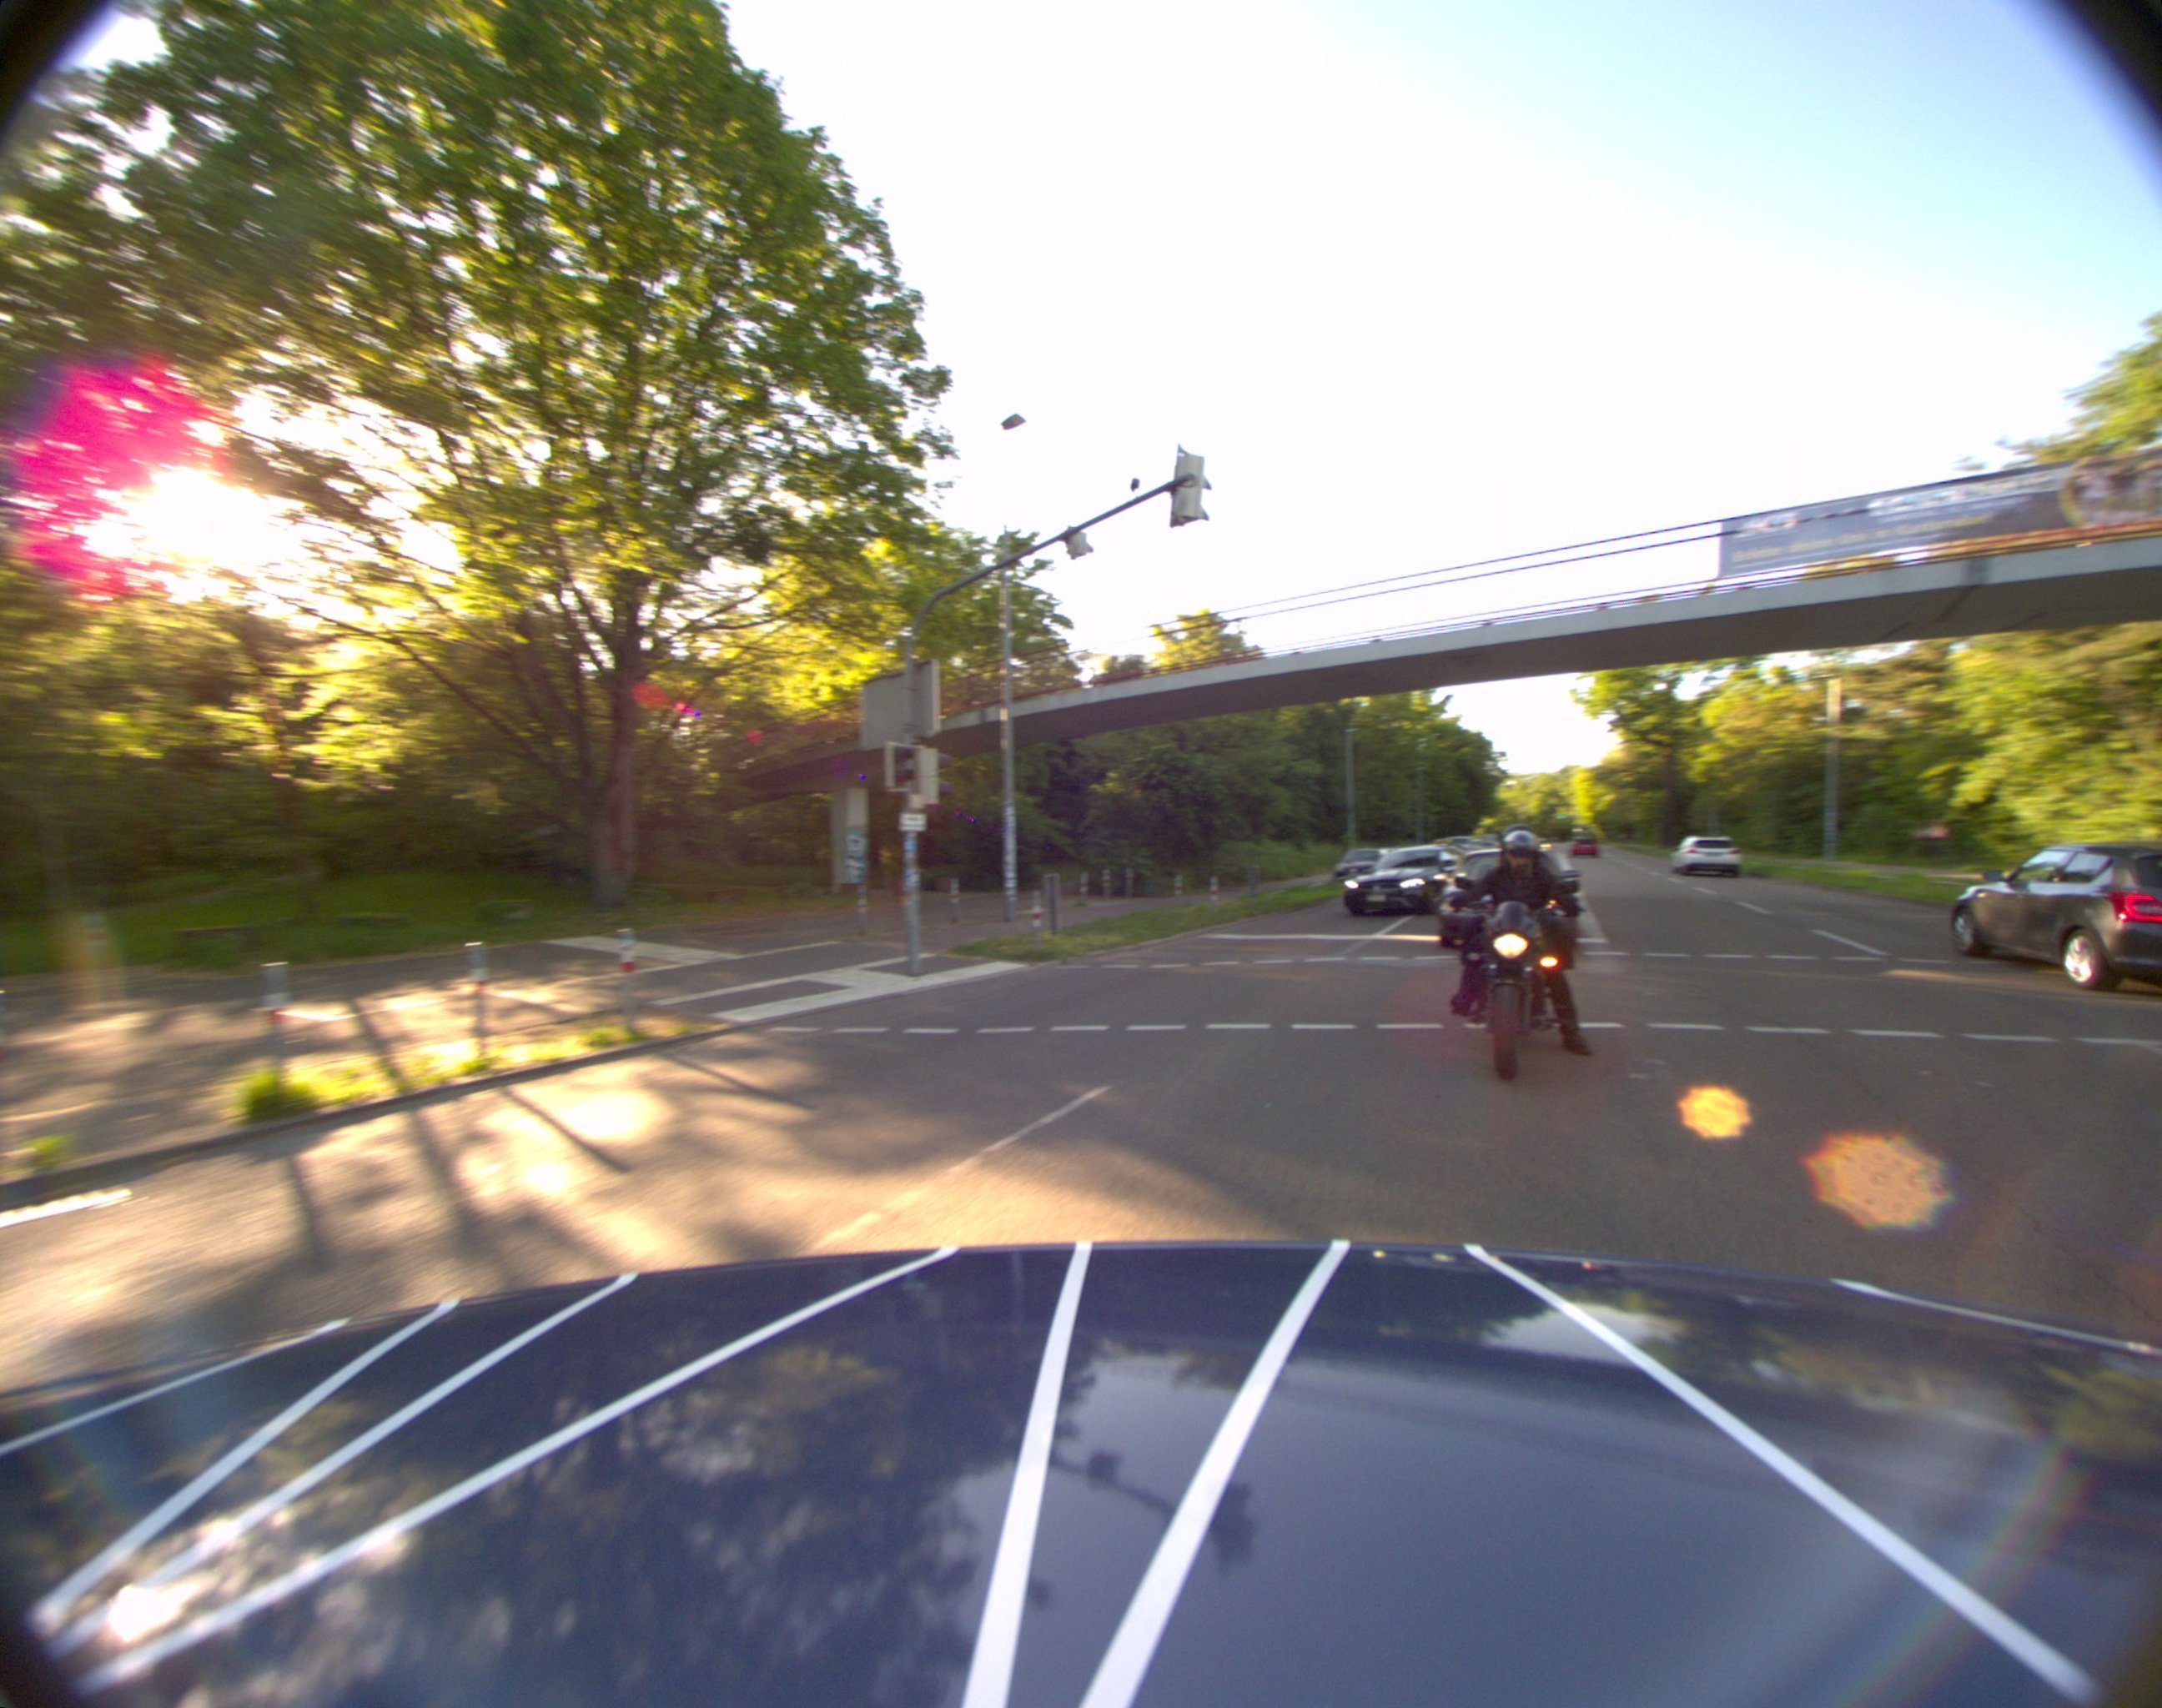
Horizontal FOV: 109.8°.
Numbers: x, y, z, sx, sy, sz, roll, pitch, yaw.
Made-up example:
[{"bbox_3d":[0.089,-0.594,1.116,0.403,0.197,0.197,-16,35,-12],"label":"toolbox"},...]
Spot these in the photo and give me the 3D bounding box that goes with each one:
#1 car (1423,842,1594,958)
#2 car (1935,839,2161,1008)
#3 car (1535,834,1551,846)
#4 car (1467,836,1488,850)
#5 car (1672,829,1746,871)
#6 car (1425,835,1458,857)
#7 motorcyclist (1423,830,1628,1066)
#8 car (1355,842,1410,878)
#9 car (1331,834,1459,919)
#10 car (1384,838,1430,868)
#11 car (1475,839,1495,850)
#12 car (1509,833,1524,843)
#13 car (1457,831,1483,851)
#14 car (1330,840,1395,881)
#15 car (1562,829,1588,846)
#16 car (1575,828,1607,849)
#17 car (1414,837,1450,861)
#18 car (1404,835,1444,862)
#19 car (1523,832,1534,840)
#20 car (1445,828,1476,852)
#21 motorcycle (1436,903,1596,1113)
[{"bbox_3d":[6.525,0.584,11.549,1.864,1.381,4.007,-3,0,31],"label":"car"},{"bbox_3d":[10.918,0.596,7.876,1.708,1.445,3.646,2,3,31],"label":"car"},{"bbox_3d":[50.053,-1.520,82.283,1.462,1.237,4.007,-1,1,31],"label":"car"},{"bbox_3d":[44.608,-1.236,85.437,1.890,1.538,4.403,0,1,31],"label":"car"},{"bbox_3d":[24.672,-0.206,29.968,1.678,1.515,3.908,1,2,31],"label":"car"},{"bbox_3d":[26.087,-0.600,54.932,1.733,1.499,4.403,0,1,31],"label":"car"},{"bbox_3d":[3.265,0.575,5.635,1.136,1.420,1.569,-1,3,30],"label":"motorcyclist"},{"bbox_3d":[13.904,0.222,34.943,1.717,1.499,3.983,0,1,31],"label":"car"},{"bbox_3d":[7.675,0.400,18.143,1.995,1.625,5.897,-1,1,30],"label":"car"},{"bbox_3d":[17.559,-0.061,40.859,1.733,1.499,4.160,0,1,31],"label":"car"},{"bbox_3d":[48.043,-1.176,90.266,1.911,1.213,4.007,-1,1,31],"label":"car"},{"bbox_3d":[60.282,-2.192,105.110,1.732,1.237,4.007,-1,1,31],"label":"car"},{"bbox_3d":[38.909,-1.331,75.939,1.948,1.964,4.403,0,1,31],"label":"car"},{"bbox_3d":[11.490,0.223,30.840,1.691,1.499,4.133,-1,1,31],"label":"car"},{"bbox_3d":[47.238,-1.581,72.753,1.962,1.497,4.655,-1,1,31],"label":"car"},{"bbox_3d":[36.557,-1.106,54.540,1.751,1.448,3.646,1,2,31],"label":"car"},{"bbox_3d":[23.361,-0.357,50.494,1.733,1.499,4.233,0,1,31],"label":"car"},{"bbox_3d":[20.594,-0.360,45.584,1.701,1.499,4.144,0,1,31],"label":"car"},{"bbox_3d":[87.273,-3.450,148.232,1.890,1.491,4.403,0,1,31],"label":"car"},{"bbox_3d":[32.590,-1.183,65.201,2.013,1.964,5.050,0,1,31],"label":"car"},{"bbox_3d":[3.244,0.964,5.669,0.806,0.908,2.717,-1,2,30],"label":"motorcycle"}]
